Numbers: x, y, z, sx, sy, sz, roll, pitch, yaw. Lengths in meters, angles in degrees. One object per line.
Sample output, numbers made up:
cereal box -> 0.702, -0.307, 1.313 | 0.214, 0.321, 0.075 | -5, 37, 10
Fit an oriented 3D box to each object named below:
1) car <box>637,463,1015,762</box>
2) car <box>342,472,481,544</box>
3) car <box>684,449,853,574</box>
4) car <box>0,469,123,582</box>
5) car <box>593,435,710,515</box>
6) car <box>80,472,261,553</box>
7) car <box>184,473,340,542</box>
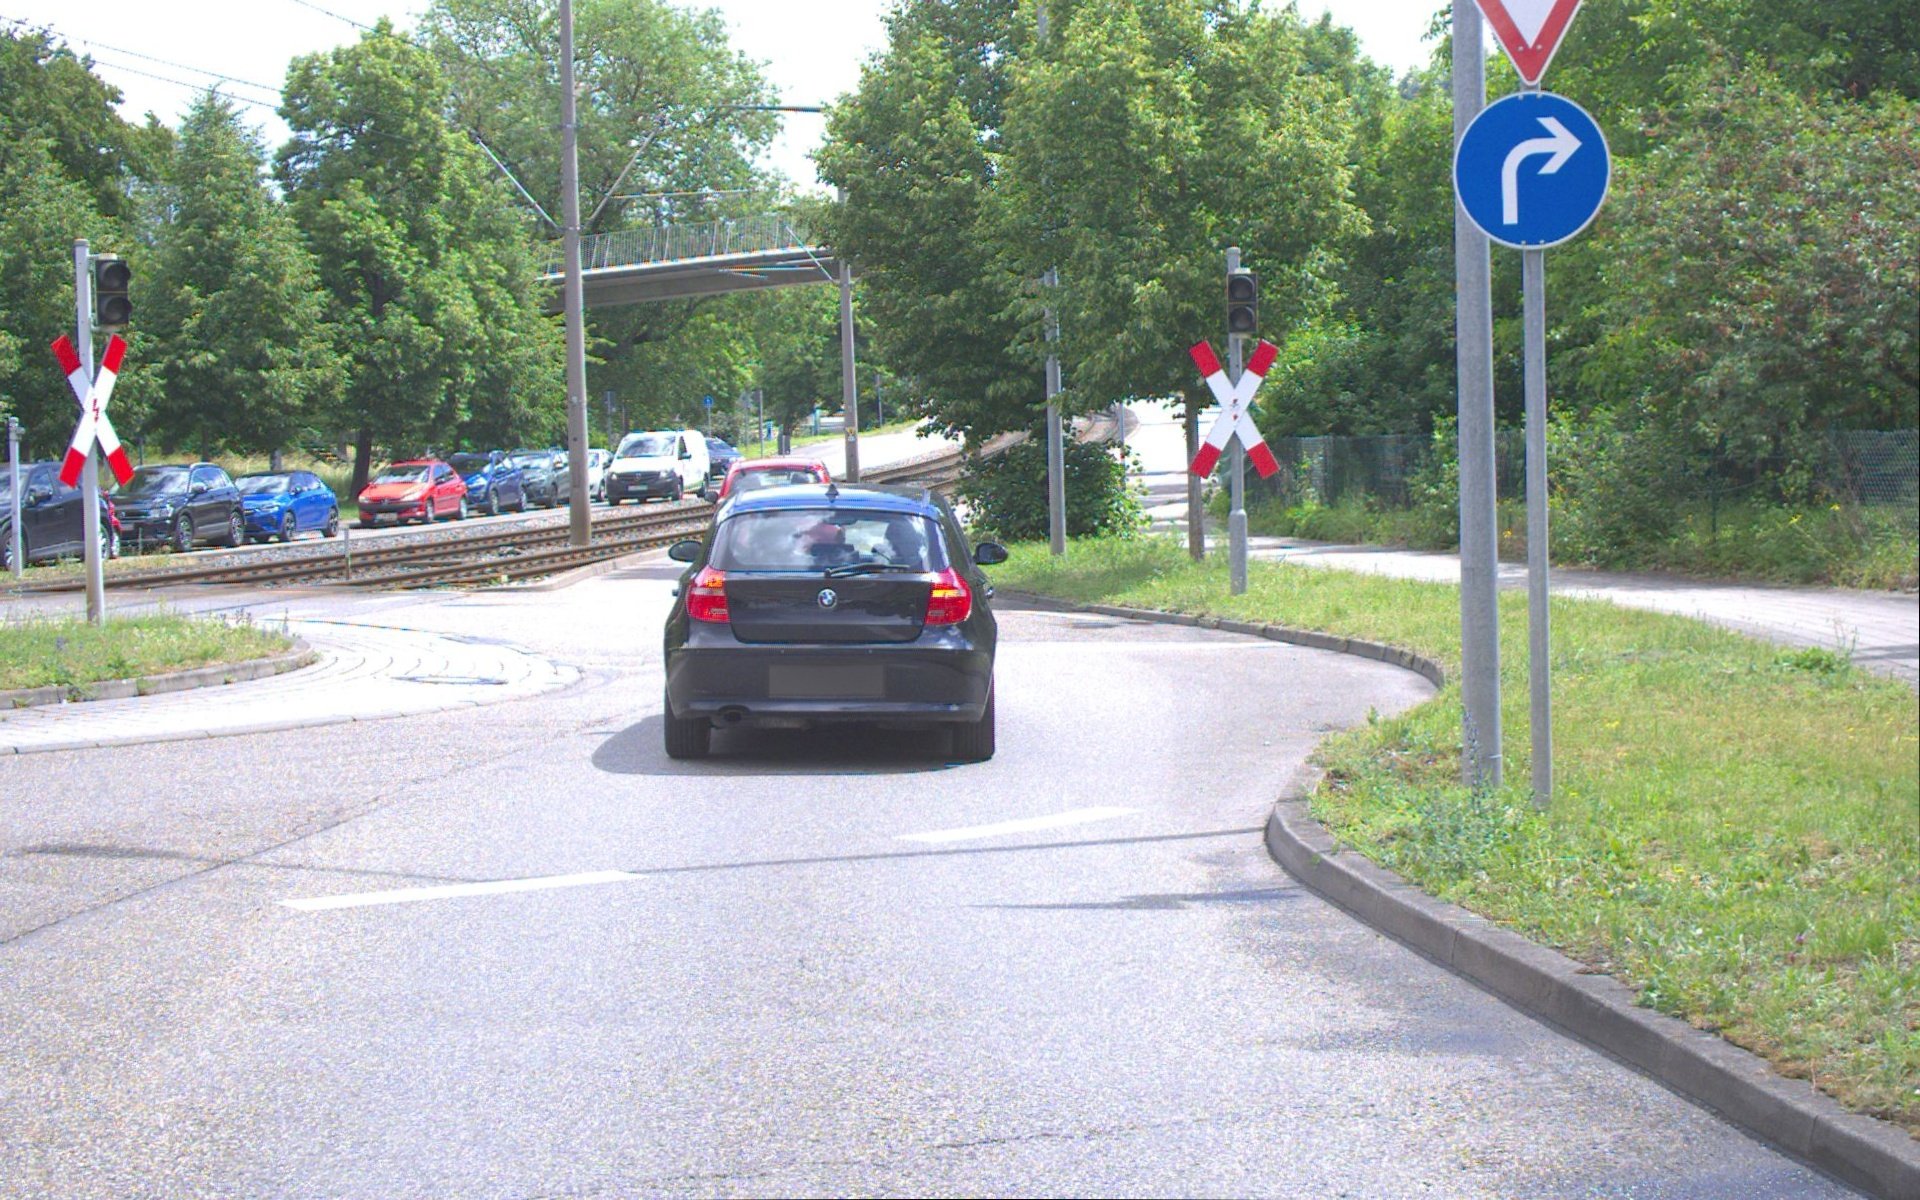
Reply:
car -> -0.780, 0.040, 18.938 | 1.815, 1.416, 4.001 | -2, 1, -4
car -> -12.581, -2.126, 79.068 | 1.913, 1.555, 3.999 | -1, 2, 10
car -> -2.412, -1.082, 42.545 | 1.765, 1.427, 3.480 | -2, 1, -8
car -> -14.185, -1.092, 50.259 | 1.994, 1.591, 4.417 | -1, 2, 13
car -> -8.025, -3.279, 89.738 | 1.994, 2.006, 3.999 | -1, 2, 10
car -> -14.633, -1.642, 63.899 | 1.881, 1.420, 3.529 | -1, 2, 13
car -> -13.979, -1.875, 69.066 | 1.807, 1.249, 3.567 | -1, 3, 11
